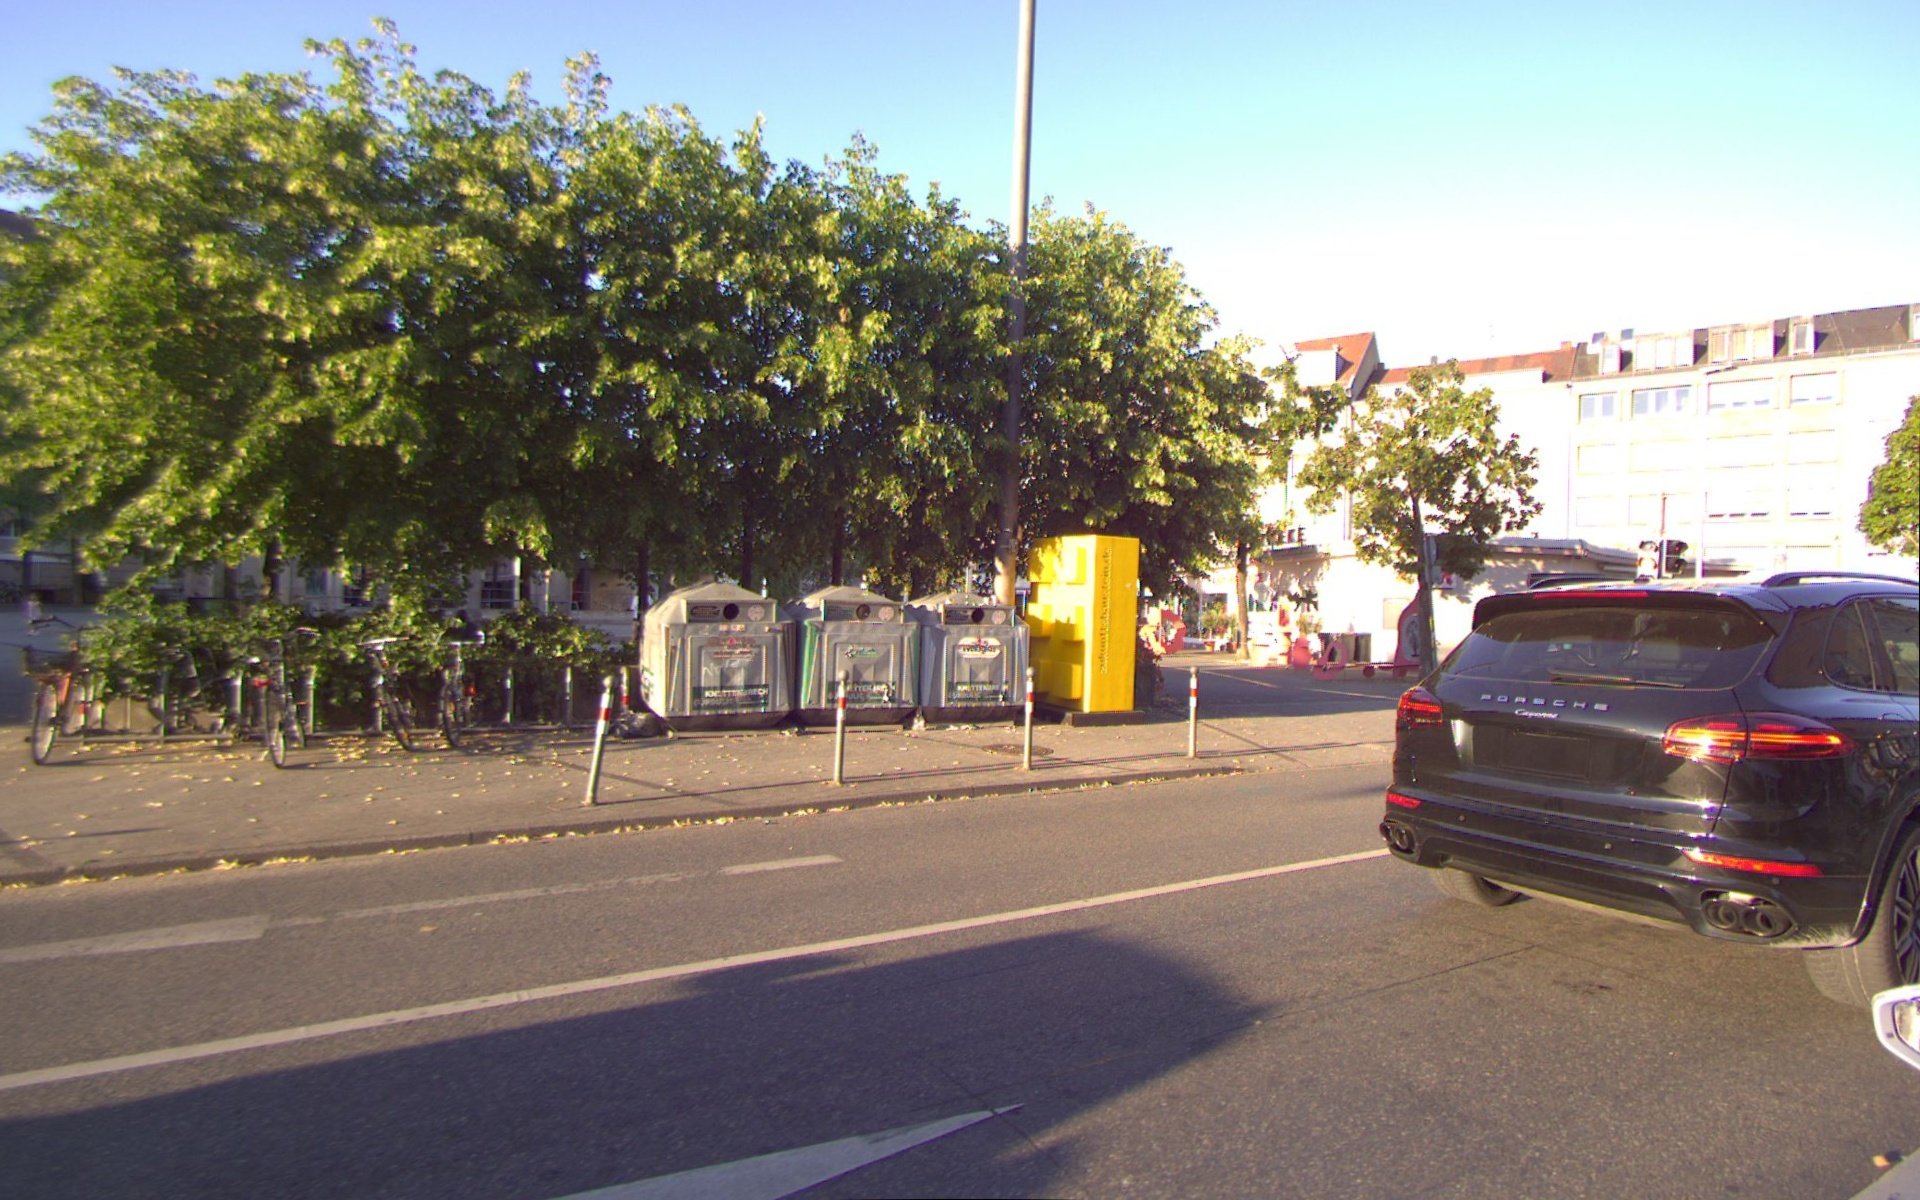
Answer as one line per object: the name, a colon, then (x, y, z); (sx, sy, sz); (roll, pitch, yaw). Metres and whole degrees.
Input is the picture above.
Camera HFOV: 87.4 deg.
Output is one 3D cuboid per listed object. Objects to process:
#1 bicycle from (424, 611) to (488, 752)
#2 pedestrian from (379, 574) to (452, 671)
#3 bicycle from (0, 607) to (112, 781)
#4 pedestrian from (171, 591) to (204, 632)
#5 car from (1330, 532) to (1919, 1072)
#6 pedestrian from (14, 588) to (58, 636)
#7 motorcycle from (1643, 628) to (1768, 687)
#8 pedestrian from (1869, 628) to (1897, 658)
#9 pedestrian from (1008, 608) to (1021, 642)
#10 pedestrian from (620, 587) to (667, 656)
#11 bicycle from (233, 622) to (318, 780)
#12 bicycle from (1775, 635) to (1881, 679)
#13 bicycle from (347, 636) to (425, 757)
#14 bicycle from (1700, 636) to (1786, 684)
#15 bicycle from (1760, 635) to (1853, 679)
bicycle: (-5.172, 0.781, 10.270); (0.440, 1.269, 1.578); (1, 1, -31)
pedestrian: (-10.283, 0.417, 18.989); (0.879, 1.748, 0.736); (2, 0, 7)
bicycle: (-7.801, 0.732, 8.627); (0.543, 1.269, 2.012); (1, 1, -33)
pedestrian: (-20.774, 0.294, 27.015); (0.519, 1.078, 0.462); (1, 2, -1)
car: (4.252, 0.705, 5.210); (4.507, 1.737, 1.940); (1, -1, -30)
pedestrian: (-21.495, 0.275, 23.378); (0.575, 1.078, 0.462); (1, 2, -1)
motorcycle: (19.936, 1.518, 26.949); (0.857, 1.448, 2.570); (2, -1, -28)
pedestrian: (49.134, 2.292, 53.478); (0.933, 1.558, 0.906); (1, 0, 35)
pedestrian: (3.401, 1.547, 62.686); (0.648, 2.040, 0.811); (2, 0, 0)
pedestrian: (-7.762, 0.520, 24.658); (0.824, 1.642, 0.705); (2, 0, 8)
bicycle: (-6.032, 0.817, 8.887); (0.543, 1.150, 2.012); (1, 1, -33)
bicycle: (27.456, 1.782, 31.826); (0.778, 1.273, 2.433); (2, -1, -28)
bicycle: (-5.656, 0.898, 9.868); (0.543, 0.992, 1.663); (1, 1, -33)
bicycle: (22.487, 1.704, 28.879); (0.625, 1.273, 1.846); (2, -1, -28)
bicycle: (26.306, 1.753, 31.245); (0.938, 1.273, 1.997); (2, -1, -29)
